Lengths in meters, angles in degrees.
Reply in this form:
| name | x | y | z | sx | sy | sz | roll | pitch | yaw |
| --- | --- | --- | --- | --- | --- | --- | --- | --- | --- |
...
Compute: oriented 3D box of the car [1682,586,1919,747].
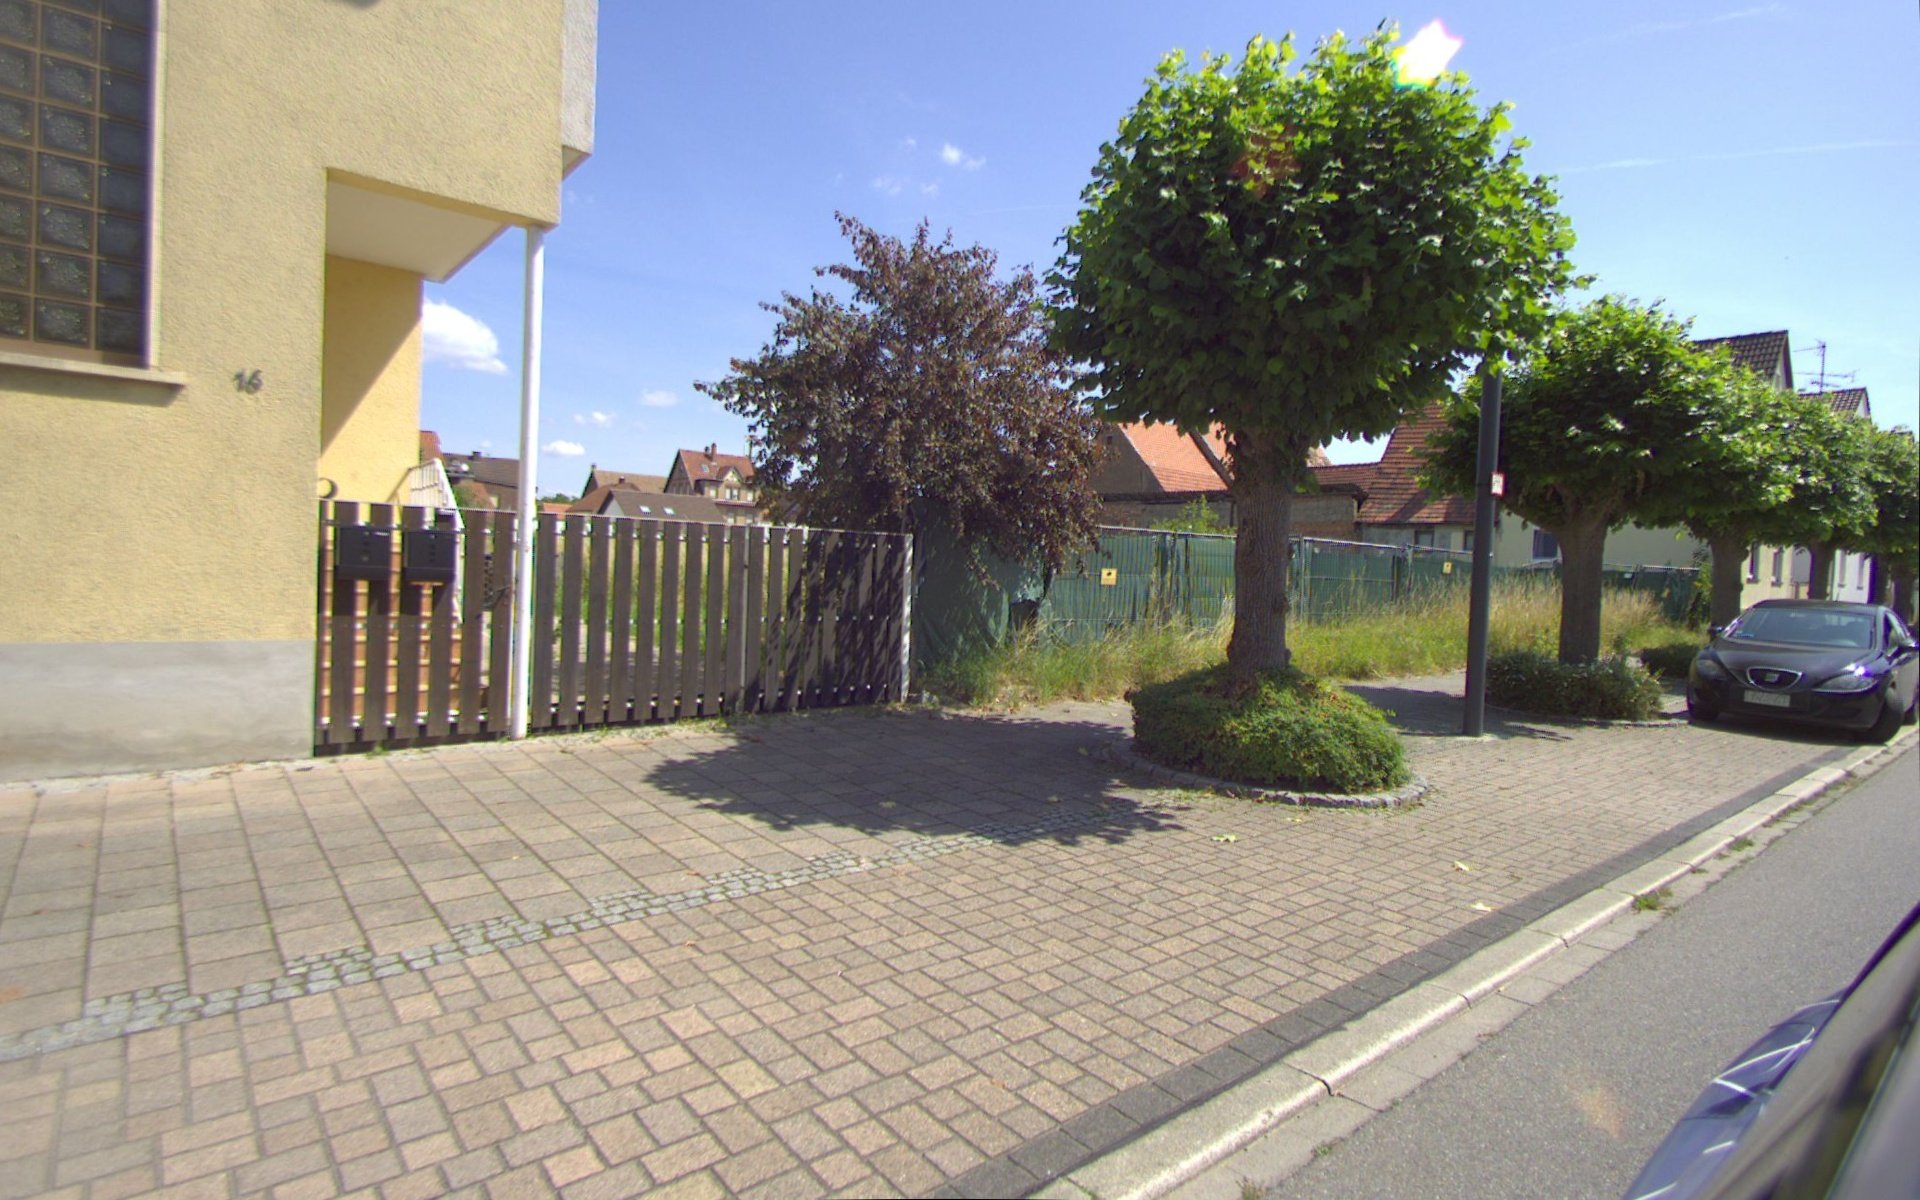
| name | x | y | z | sx | sy | sz | roll | pitch | yaw |
| --- | --- | --- | --- | --- | --- | --- | --- | --- | --- |
| car | 10.186 | 0.649 | 11.855 | 3.985 | 1.449 | 1.829 | 0 | 4 | -41 |
